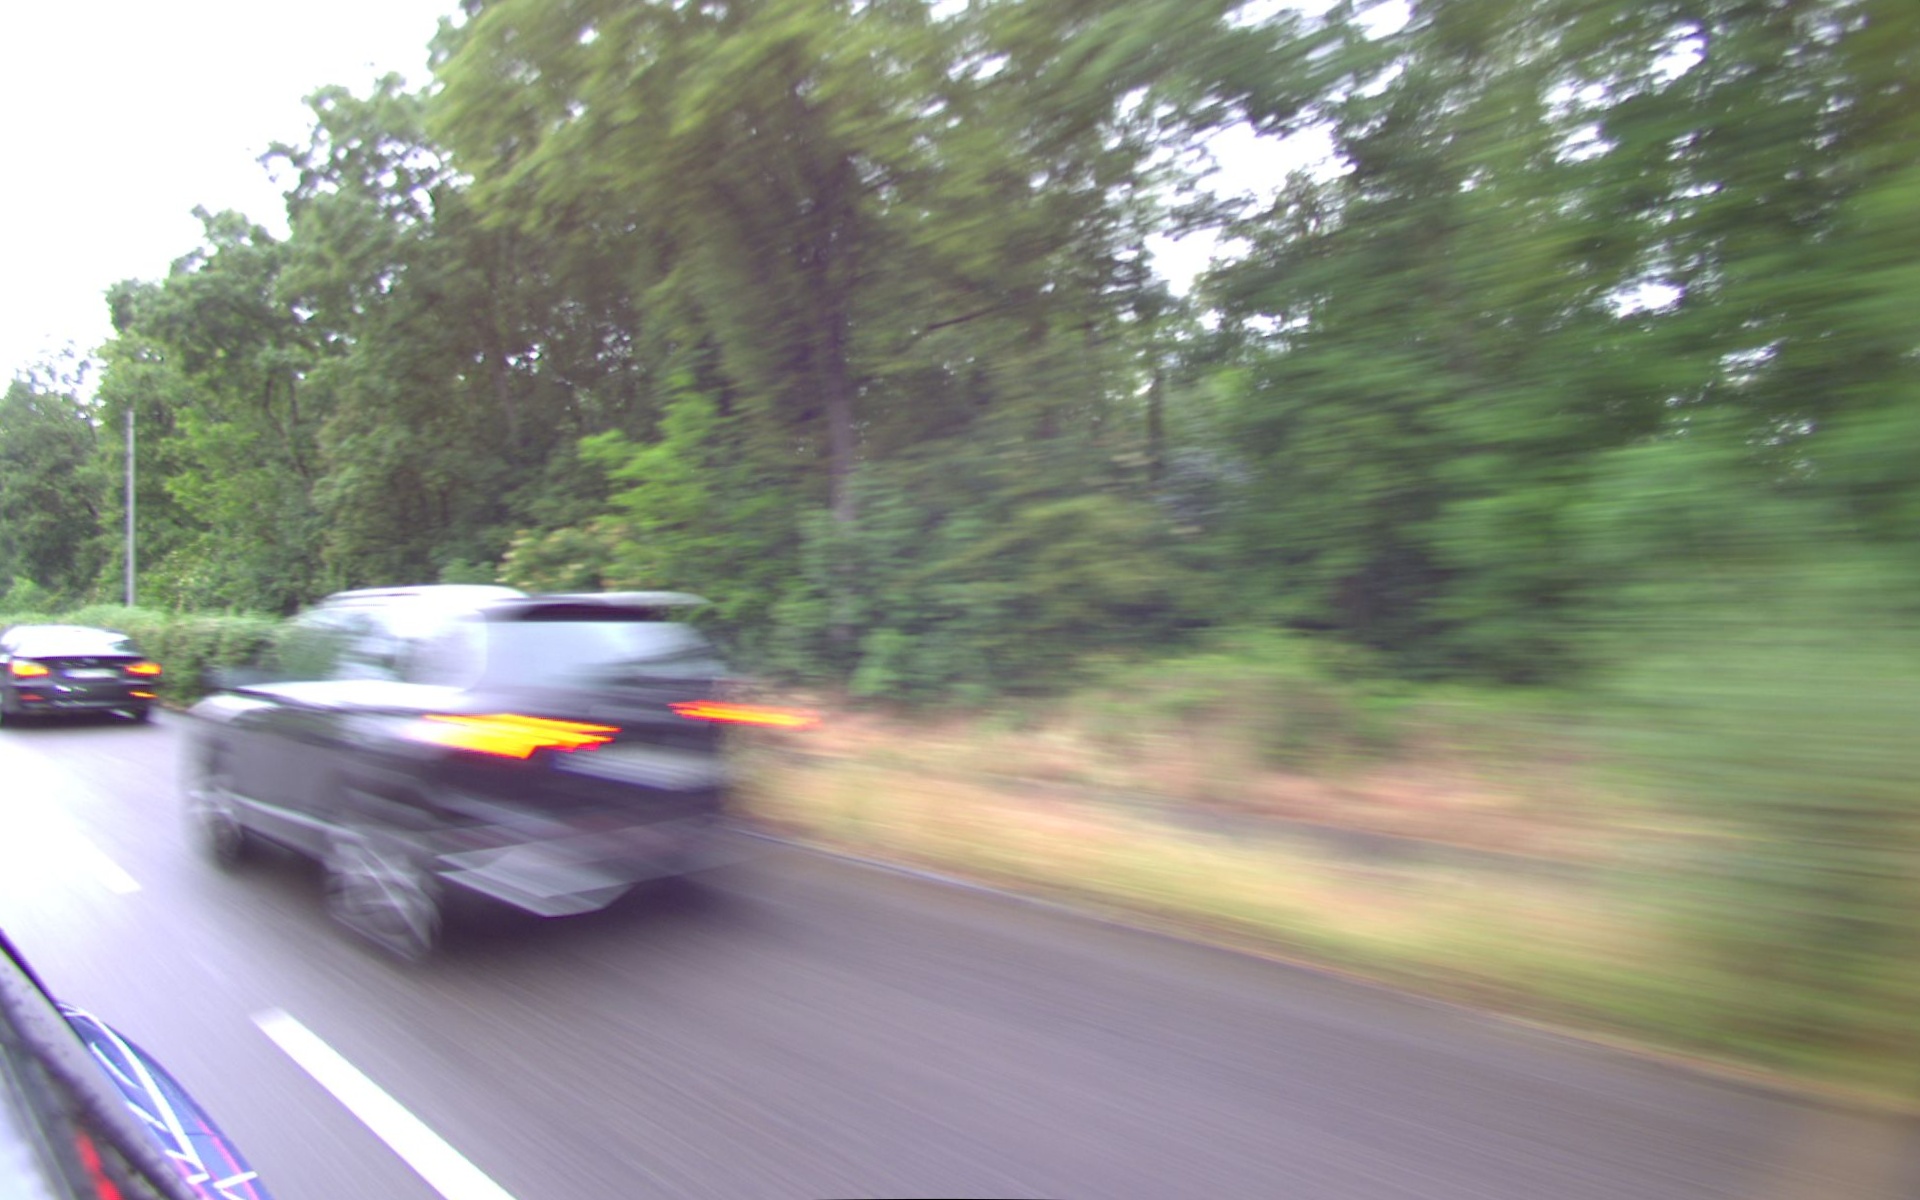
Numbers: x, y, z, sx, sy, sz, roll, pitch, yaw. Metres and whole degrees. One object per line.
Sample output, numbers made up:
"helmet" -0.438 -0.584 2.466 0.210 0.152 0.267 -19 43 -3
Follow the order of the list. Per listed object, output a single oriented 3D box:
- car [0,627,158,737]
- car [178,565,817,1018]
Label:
"car" -13.777 1.148 15.312 4.047 1.457 1.697 -1 -3 39
"car" -2.774 0.754 5.621 4.059 1.630 1.659 -2 -3 40
